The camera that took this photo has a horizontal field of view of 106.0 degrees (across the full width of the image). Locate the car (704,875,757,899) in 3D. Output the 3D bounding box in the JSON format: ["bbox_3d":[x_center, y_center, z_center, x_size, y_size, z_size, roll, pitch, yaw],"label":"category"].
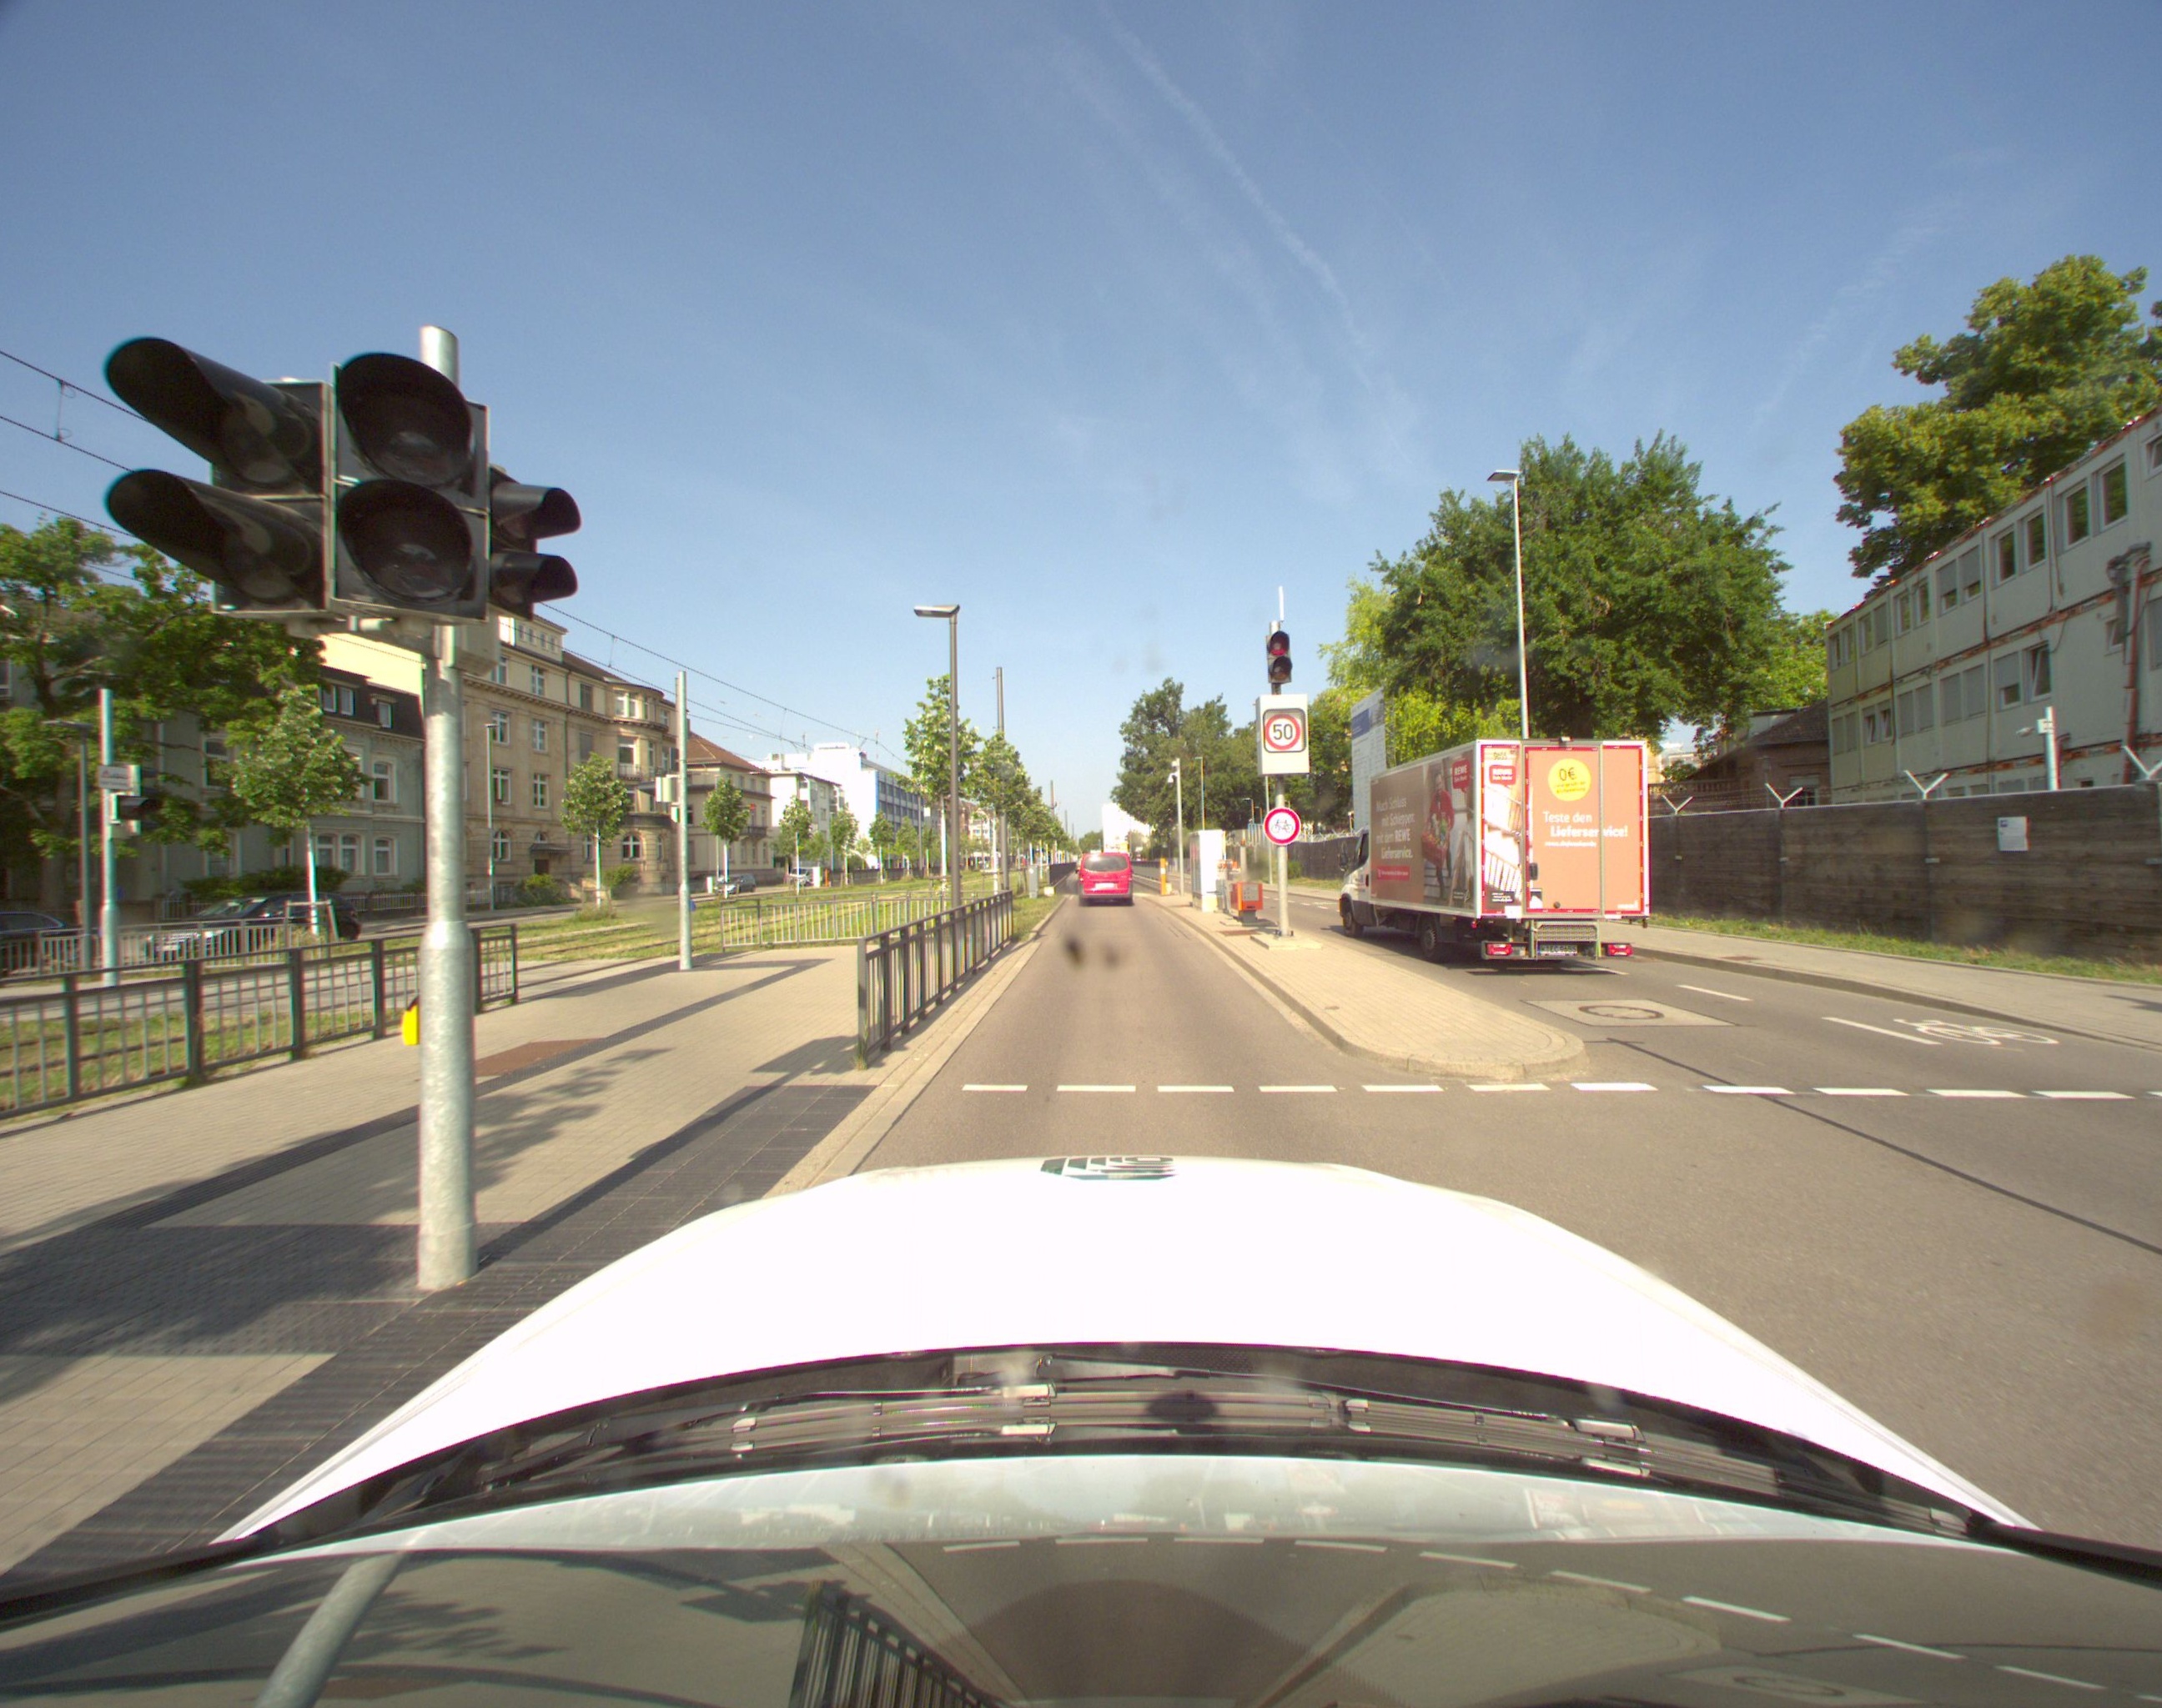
[{"bbox_3d":[-26.341,2.434,61.346,1.987,1.577,4.527,-2,-1,0],"label":"car"}]

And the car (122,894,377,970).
[{"bbox_3d":[-20.824,1.886,20.743,1.988,1.513,4.396,-2,-1,-1],"label":"car"}]

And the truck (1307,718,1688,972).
[{"bbox_3d":[6.126,-0.029,13.775,2.494,3.061,7.819,0,-1,0],"label":"truck"}]

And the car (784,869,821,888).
[{"bbox_3d":[-30.269,2.668,88.744,2.243,2.014,5.260,1,-2,-1],"label":"car"}]

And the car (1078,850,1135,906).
[{"bbox_3d":[0.940,0.831,29.217,1.894,1.859,4.002,0,-1,2],"label":"car"}]

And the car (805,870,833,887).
[{"bbox_3d":[-26.050,2.414,81.079,1.514,1.464,3.823,-2,1,-1],"label":"car"}]

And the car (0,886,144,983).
[{"bbox_3d":[-23.985,1.773,17.337,1.988,2.014,5.300,-2,-1,-1],"label":"car"}]

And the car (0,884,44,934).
[{"bbox_3d":[-41.049,2.085,29.295,4.615,1.749,2.164,-2,-1,-1],"label":"car"}]

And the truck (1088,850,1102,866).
[{"bbox_3d":[3.413,0.969,203.435,3.380,3.726,10.449,-2,-1,0],"label":"truck"}]
